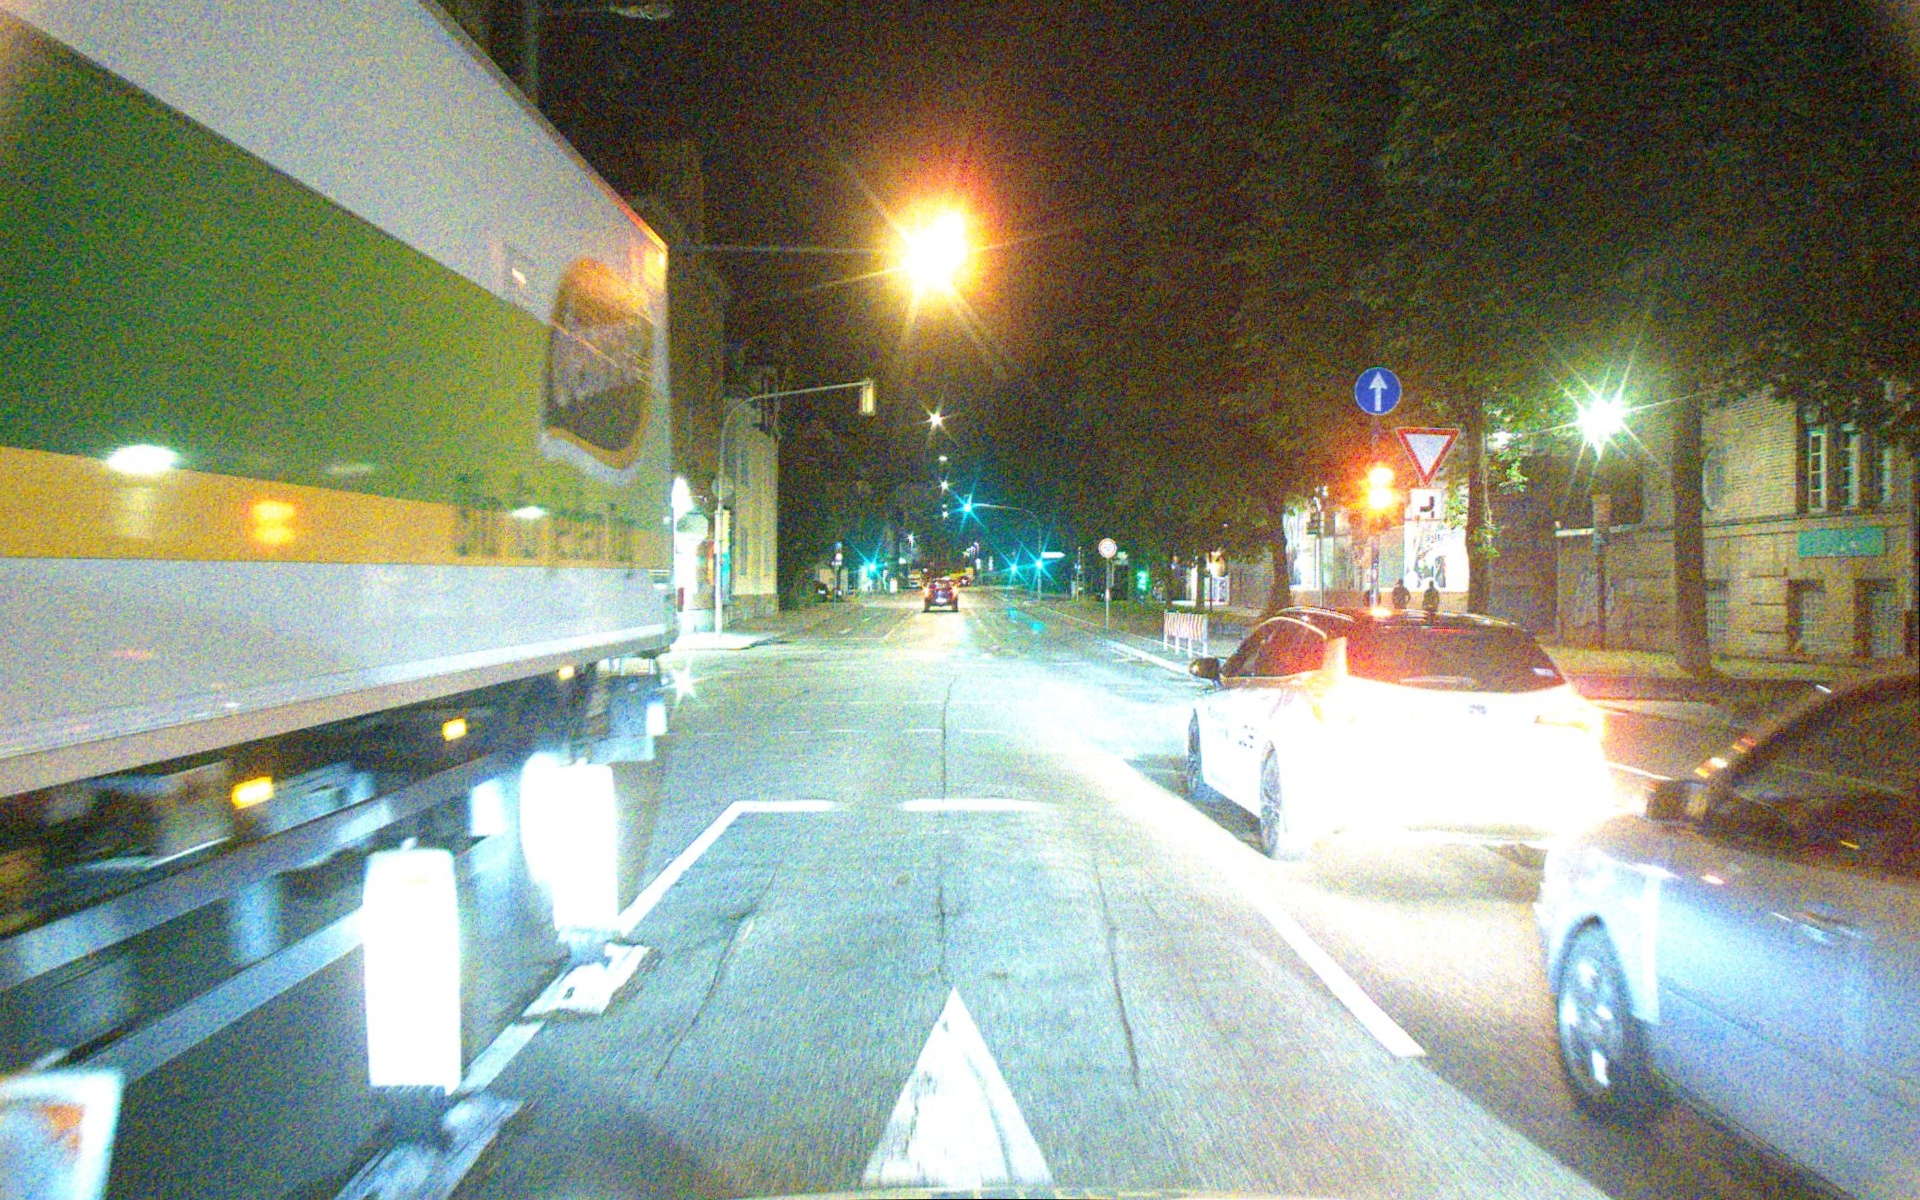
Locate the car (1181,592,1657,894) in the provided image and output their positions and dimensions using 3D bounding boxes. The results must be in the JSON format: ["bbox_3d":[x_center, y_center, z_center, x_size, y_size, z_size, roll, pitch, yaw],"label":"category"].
[{"bbox_3d":[2.616,0.717,10.490,1.694,1.460,4.209,2,0,-2],"label":"car"}]

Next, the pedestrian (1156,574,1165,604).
[{"bbox_3d":[13.796,-0.777,113.600,0.521,2.049,0.670,0,0,-1],"label":"pedestrian"}]

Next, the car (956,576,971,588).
[{"bbox_3d":[0.509,-2.550,233.562,1.954,1.624,3.998,0,0,-3],"label":"car"}]

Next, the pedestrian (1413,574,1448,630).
[{"bbox_3d":[15.449,0.062,54.322,0.882,1.800,0.907,-1,0,-1],"label":"pedestrian"}]

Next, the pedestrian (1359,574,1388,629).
[{"bbox_3d":[13.501,0.042,54.076,0.699,1.800,0.907,-1,0,-1],"label":"pedestrian"}]

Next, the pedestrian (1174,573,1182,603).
[{"bbox_3d":[14.960,-0.855,113.600,0.478,2.049,0.550,0,0,-1],"label":"pedestrian"}]

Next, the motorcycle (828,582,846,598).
[{"bbox_3d":[-9.306,-0.776,125.062,0.769,1.225,2.436,-1,1,-19],"label":"motorcycle"}]

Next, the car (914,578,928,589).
[{"bbox_3d":[-5.134,-2.161,218.704,1.742,1.414,3.998,-1,1,-2],"label":"car"}]

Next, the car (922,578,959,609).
[{"bbox_3d":[-1.123,-0.385,92.319,1.953,1.668,3.998,0,0,-2],"label":"car"}]

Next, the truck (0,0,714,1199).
[{"bbox_3d":[-2.972,-0.496,5.341,2.698,3.783,10.113,-1,0,0],"label":"truck"}]

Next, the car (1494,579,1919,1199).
[{"bbox_3d":[2.705,0.743,3.755,1.604,1.520,3.999,2,0,-1],"label":"car"}]

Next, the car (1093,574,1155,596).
[{"bbox_3d":[10.540,-0.980,106.467,3.904,1.410,1.772,0,1,2],"label":"car"}]

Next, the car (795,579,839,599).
[{"bbox_3d":[-11.095,-0.859,127.860,1.786,1.512,3.956,-1,1,-32],"label":"car"}]

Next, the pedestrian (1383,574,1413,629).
[{"bbox_3d":[14.355,0.046,54.273,0.723,1.800,0.907,-1,0,-1],"label":"pedestrian"}]
